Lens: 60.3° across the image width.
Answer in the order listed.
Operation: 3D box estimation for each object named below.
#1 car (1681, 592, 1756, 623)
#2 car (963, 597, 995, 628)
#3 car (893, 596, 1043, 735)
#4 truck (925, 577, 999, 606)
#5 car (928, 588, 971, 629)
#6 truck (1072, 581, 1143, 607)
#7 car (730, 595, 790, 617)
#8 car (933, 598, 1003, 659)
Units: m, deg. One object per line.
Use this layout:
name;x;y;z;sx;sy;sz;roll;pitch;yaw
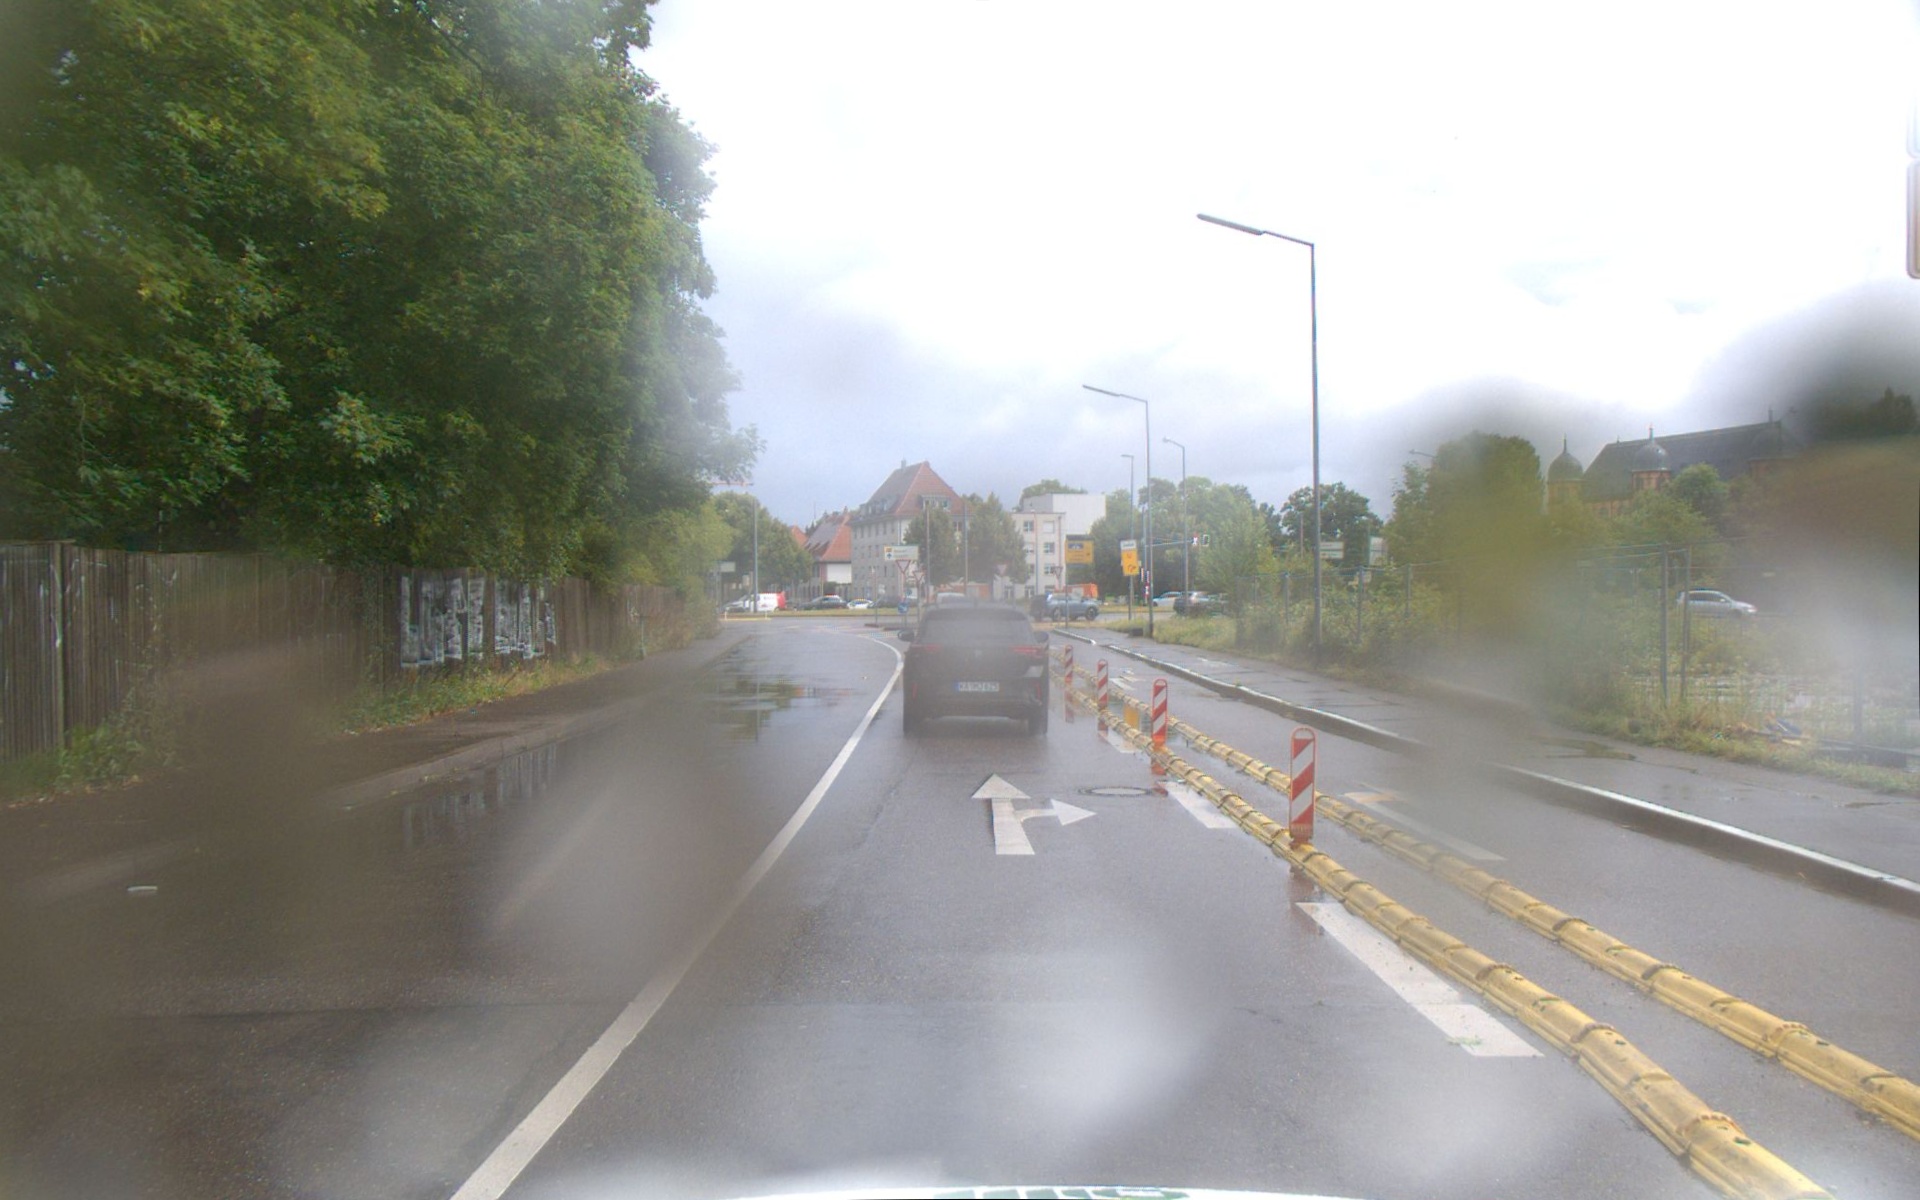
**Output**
car;40.117;0.391;87.485;3.454;1.573;1.627;-1;0;32
car;1.036;0.668;91.867;1.632;1.673;3.953;0;0;-1
car;0.018;0.770;21.033;1.674;1.601;3.680;0;0;-3
truck;0.247;-0.793;156.324;6.920;2.696;2.330;0;0;1
car;-0.529;0.396;77.755;1.827;1.841;4.401;0;0;-3
truck;14.423;-0.579;161.630;6.560;2.485;2.436;-1;0;16
car;-17.920;0.527;148.288;5.073;1.909;1.871;-1;0;-35
car;0.183;0.735;44.033;1.700;1.540;3.602;0;0;-2
